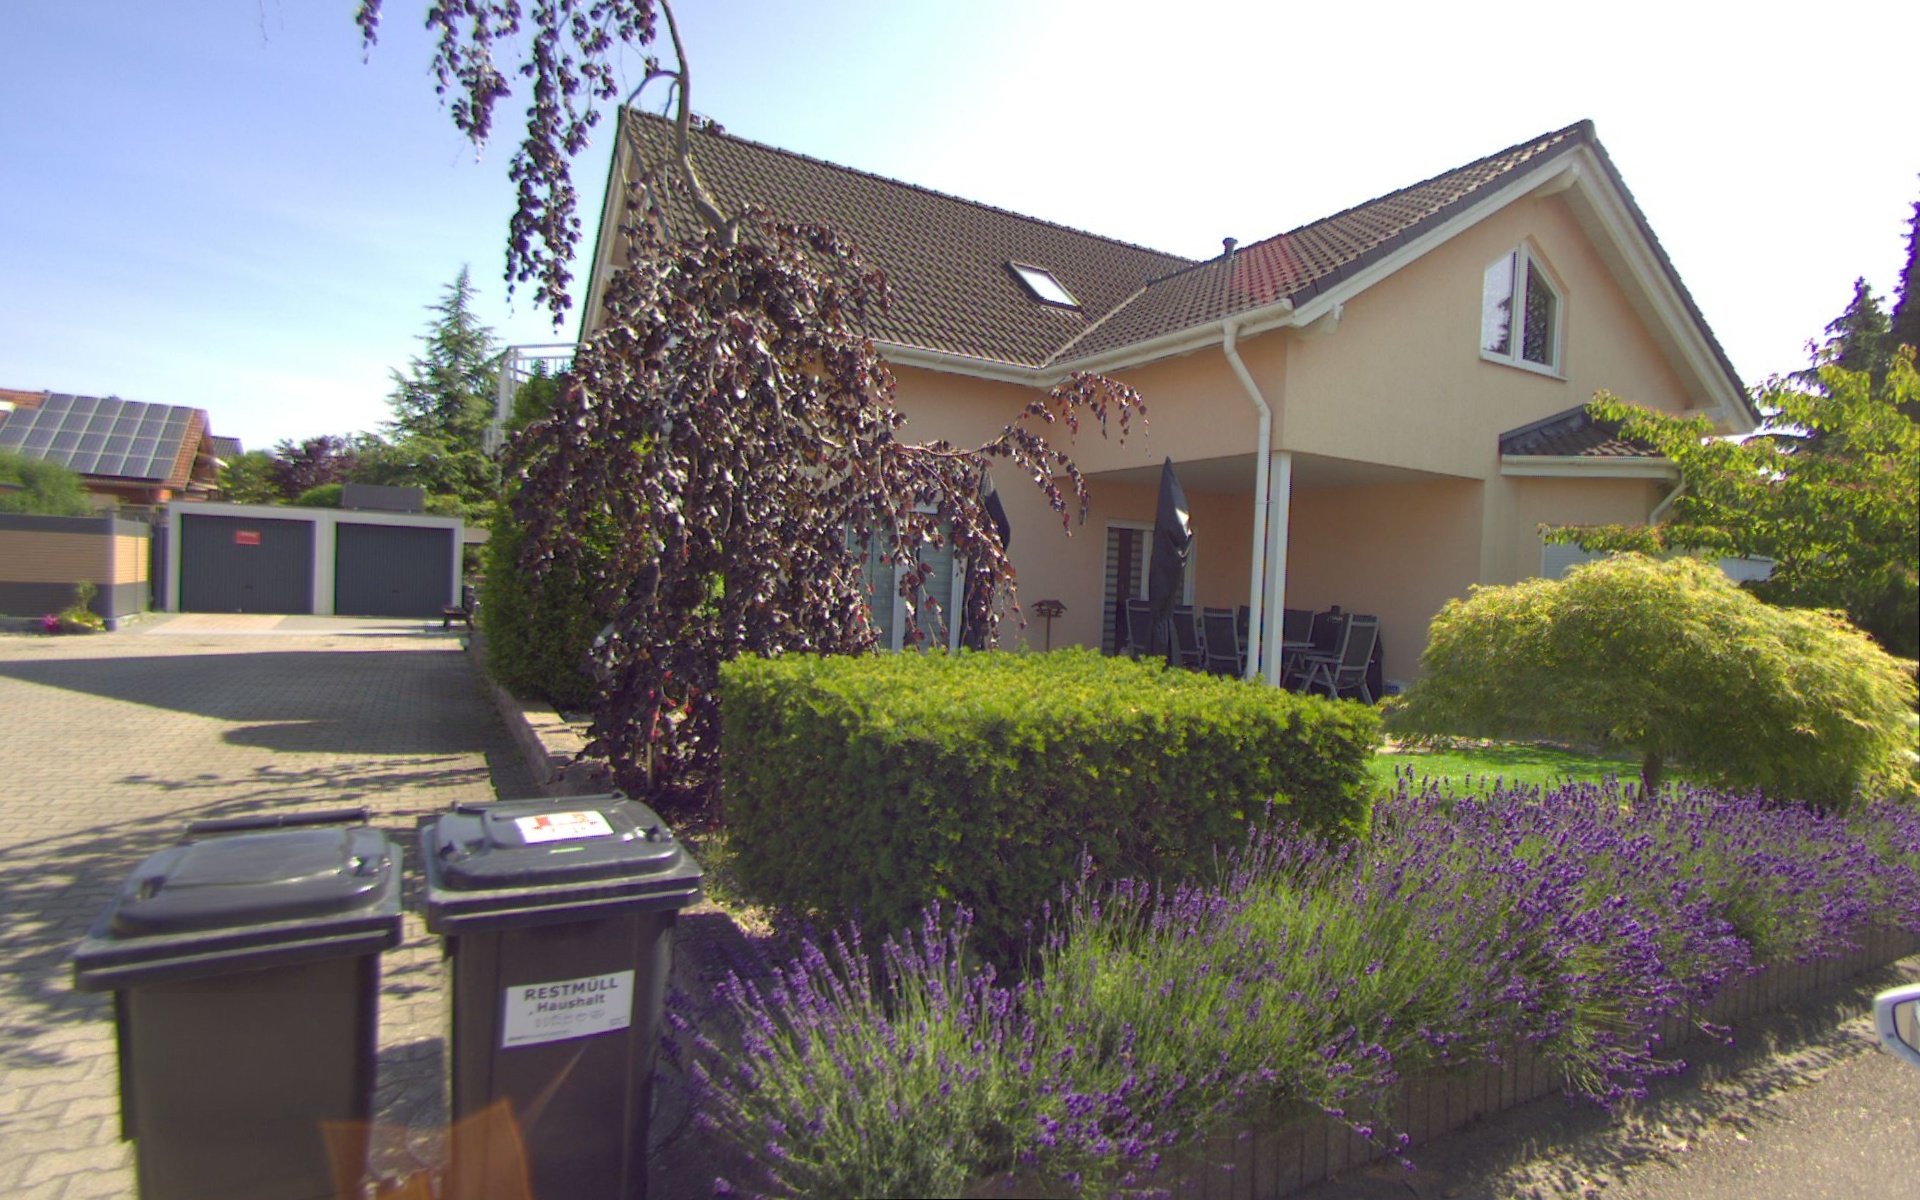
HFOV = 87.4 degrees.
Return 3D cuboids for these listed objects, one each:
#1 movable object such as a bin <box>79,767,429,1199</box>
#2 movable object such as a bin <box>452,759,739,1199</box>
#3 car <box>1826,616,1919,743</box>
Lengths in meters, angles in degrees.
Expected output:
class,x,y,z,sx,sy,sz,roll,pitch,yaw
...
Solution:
class,x,y,z,sx,sy,sz,roll,pitch,yaw
movable object such as a bin,-1.220,0.871,1.801,0.442,1.038,0.492,2,1,-29
movable object such as a bin,-0.741,0.885,1.993,0.442,1.038,0.492,2,1,-29
car,12.689,1.025,11.583,1.736,1.465,3.716,1,2,-31
